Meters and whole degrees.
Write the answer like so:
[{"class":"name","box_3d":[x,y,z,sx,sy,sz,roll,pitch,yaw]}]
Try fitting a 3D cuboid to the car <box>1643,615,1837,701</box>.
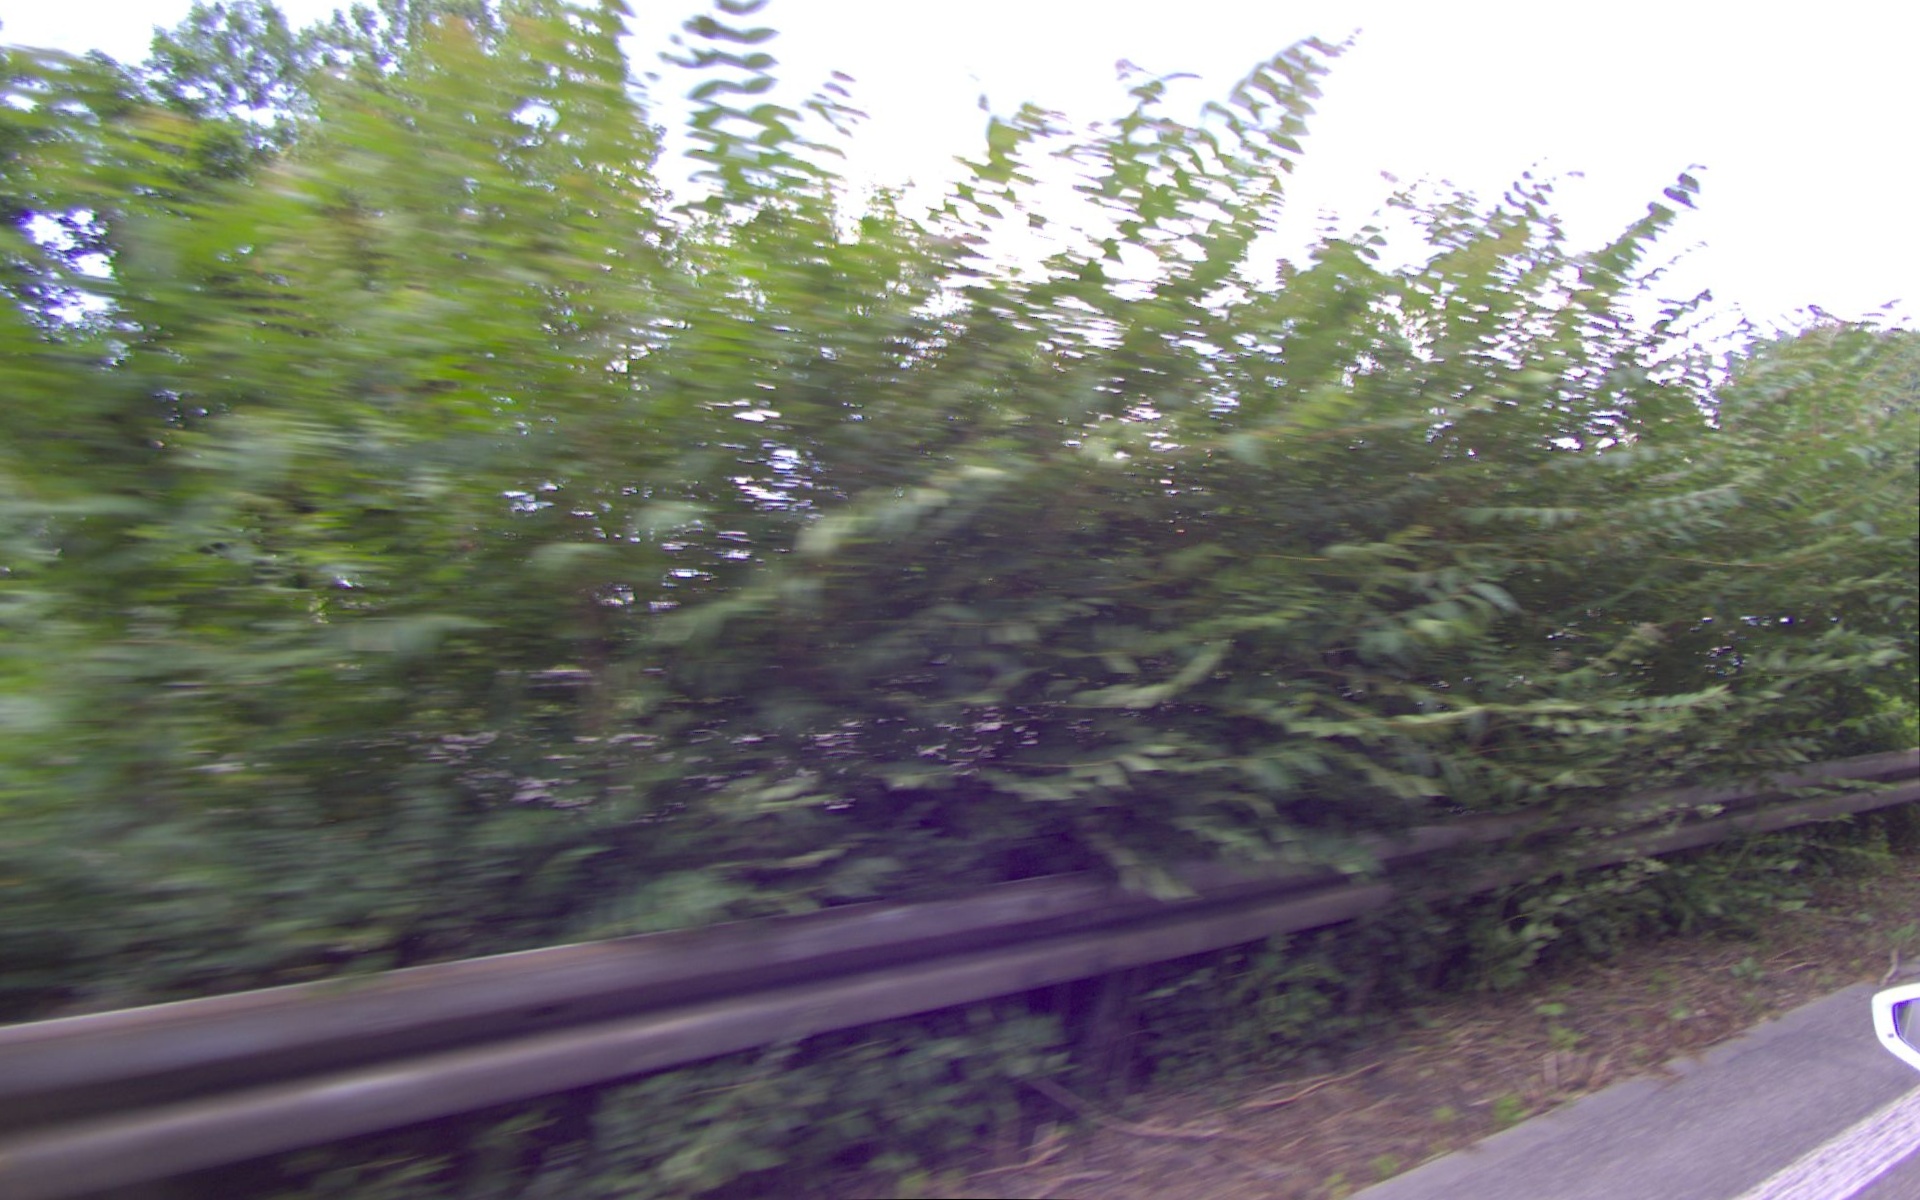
[{"class":"car","box_3d":[19.583,1.400,25.162,5.471,1.954,1.984,1,-1,-30]}]
